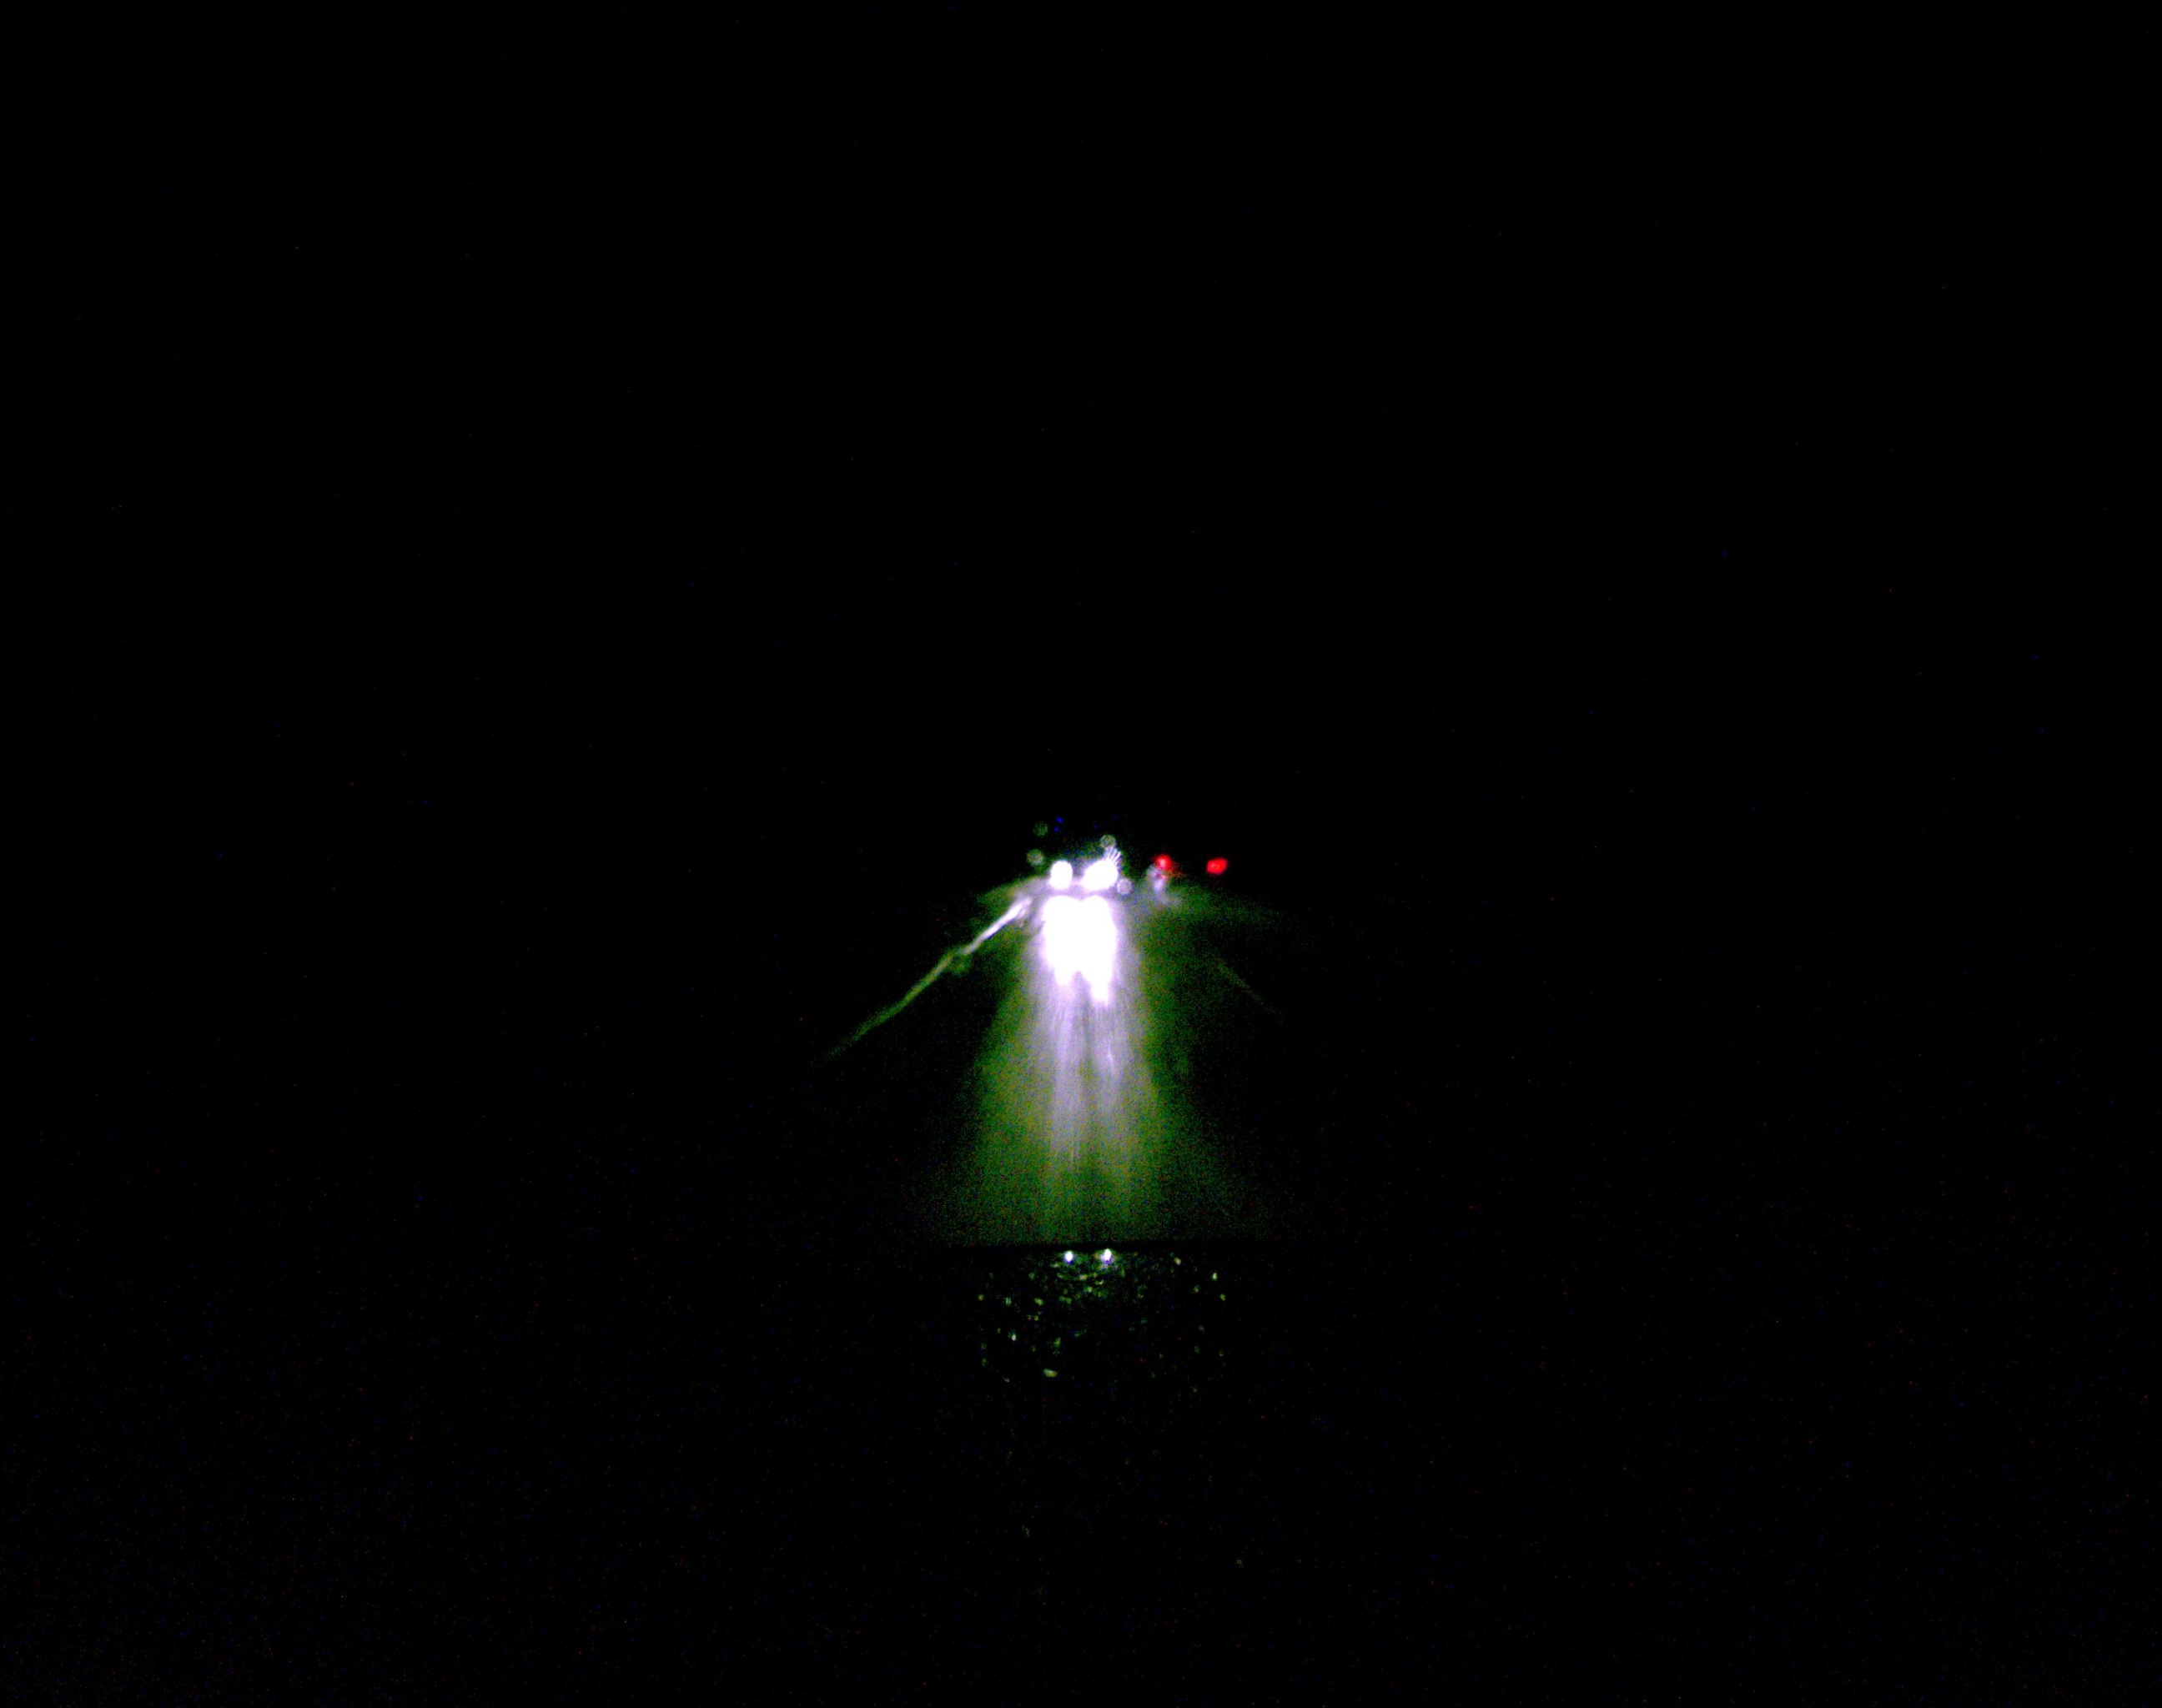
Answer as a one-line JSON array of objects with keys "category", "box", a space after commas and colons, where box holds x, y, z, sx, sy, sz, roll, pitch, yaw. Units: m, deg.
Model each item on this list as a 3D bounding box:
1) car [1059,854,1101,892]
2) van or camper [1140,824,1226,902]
[{"category": "car", "box": [-0.024, 0.810, 33.871, 1.793, 1.593, 4.000, 0, 0, 1]}, {"category": "van or camper", "box": [3.624, 0.291, 28.219, 2.129, 2.551, 5.782, 1, 0, -3]}]
